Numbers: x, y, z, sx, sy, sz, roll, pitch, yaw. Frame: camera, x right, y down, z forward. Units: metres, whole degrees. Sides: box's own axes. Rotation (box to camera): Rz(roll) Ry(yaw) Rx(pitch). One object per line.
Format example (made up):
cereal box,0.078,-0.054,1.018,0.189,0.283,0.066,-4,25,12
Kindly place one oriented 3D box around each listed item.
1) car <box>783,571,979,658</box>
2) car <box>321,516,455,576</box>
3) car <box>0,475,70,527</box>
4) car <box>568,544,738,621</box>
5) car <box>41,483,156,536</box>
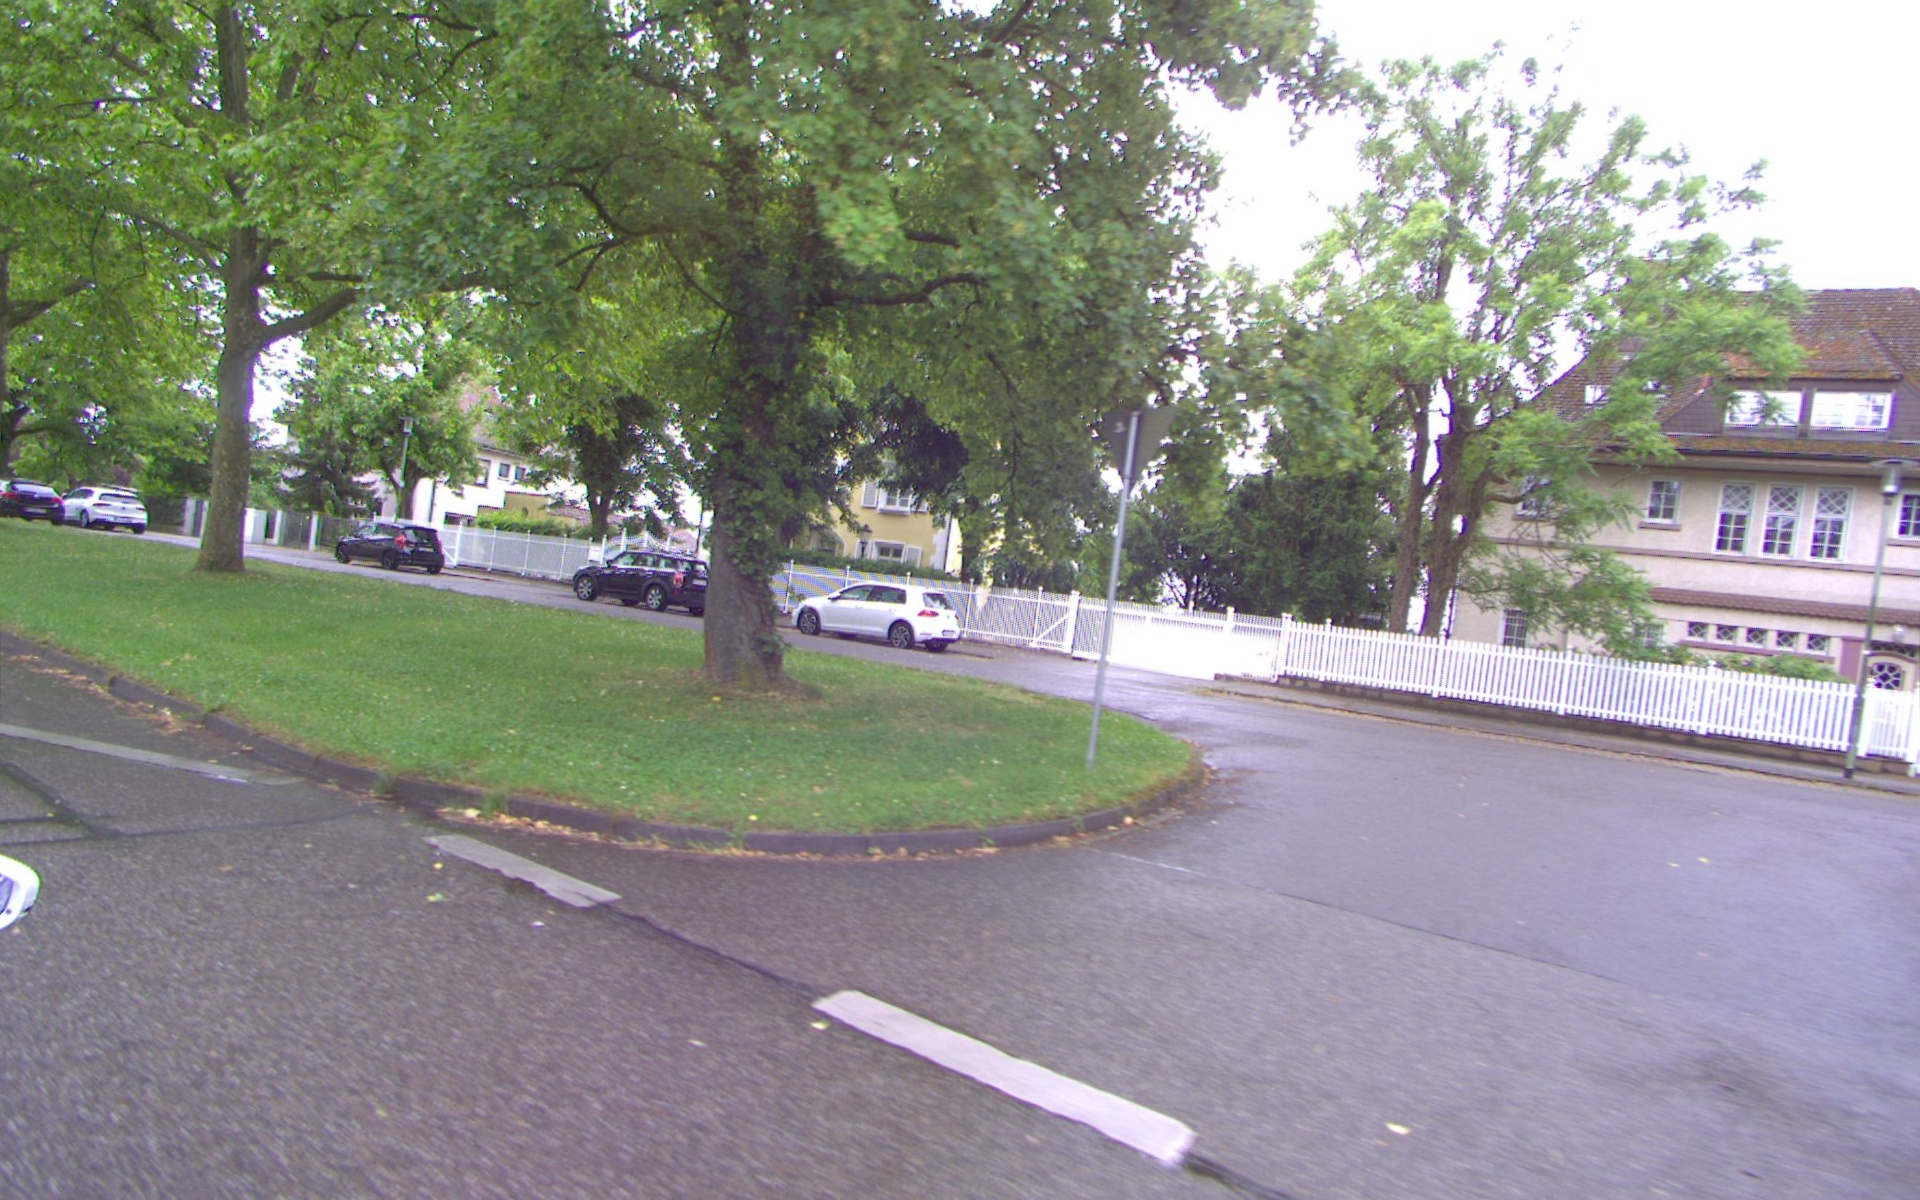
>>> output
car,-1.872,0.329,23.787,4.053,1.465,1.999,6,-2,28
car,-18.783,-1.778,33.008,4.282,1.489,1.763,6,0,28
car,-32.647,-3.473,34.614,4.522,1.490,1.765,6,1,32
car,-8.264,-0.464,27.056,4.053,1.488,1.999,6,-2,28
car,-31.574,-3.316,36.840,4.351,1.490,1.847,6,1,31
